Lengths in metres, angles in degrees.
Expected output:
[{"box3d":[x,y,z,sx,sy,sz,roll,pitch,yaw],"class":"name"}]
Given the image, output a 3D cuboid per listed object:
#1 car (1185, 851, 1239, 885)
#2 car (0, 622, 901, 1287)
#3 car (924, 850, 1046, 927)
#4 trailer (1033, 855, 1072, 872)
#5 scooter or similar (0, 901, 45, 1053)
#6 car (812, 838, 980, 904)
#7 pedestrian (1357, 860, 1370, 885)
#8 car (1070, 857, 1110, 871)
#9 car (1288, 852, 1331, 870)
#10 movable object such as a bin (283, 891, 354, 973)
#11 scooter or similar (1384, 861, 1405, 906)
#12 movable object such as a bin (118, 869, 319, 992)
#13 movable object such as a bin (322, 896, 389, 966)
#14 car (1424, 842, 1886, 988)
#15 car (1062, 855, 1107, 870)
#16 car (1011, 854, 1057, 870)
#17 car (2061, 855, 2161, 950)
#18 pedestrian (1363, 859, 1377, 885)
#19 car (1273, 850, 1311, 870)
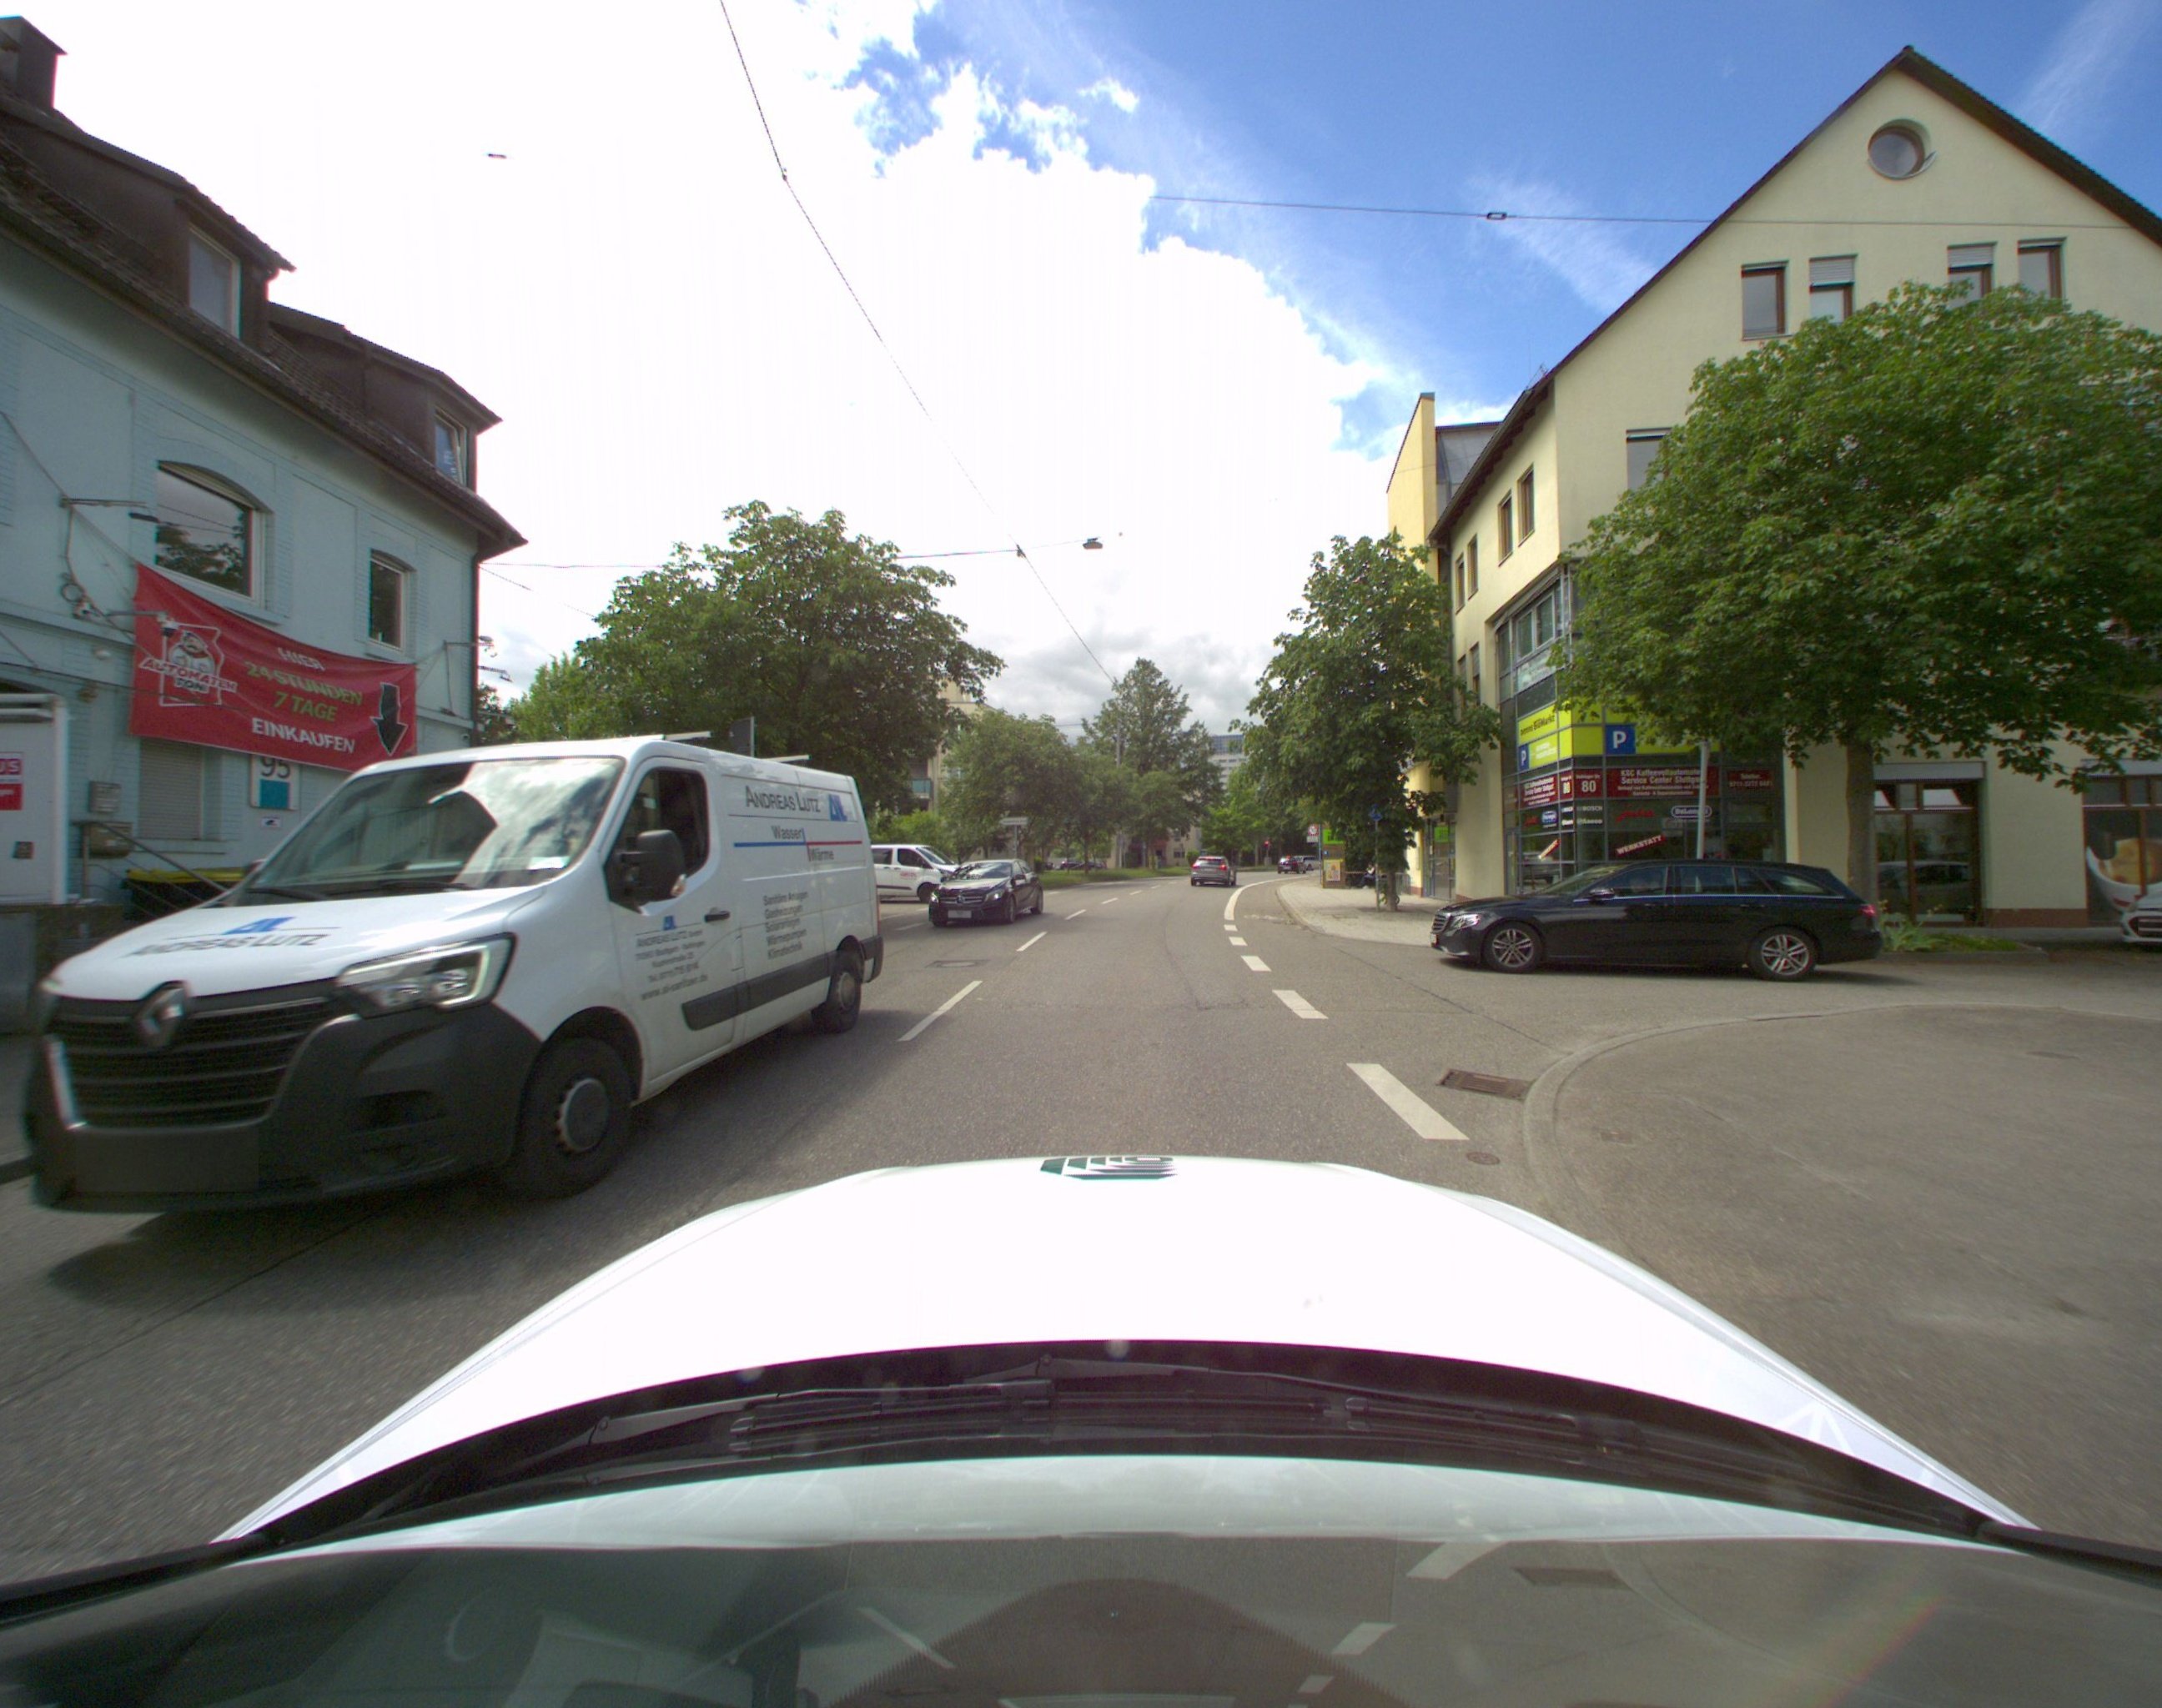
[{"box3d":[6.594,0.639,40.588,1.940,1.523,4.350,2,1,19],"class":"car"},{"box3d":[-3.124,0.374,5.569,2.053,2.353,5.191,-3,0,6],"class":"car"},{"box3d":[-2.070,0.727,18.783,1.677,1.482,4.236,-4,-1,8],"class":"car"},{"box3d":[-3.131,1.046,89.754,3.881,1.799,1.635,0,-4,11],"class":"trailer"},{"box3d":[-9.287,0.969,6.367,1.549,1.184,0.545,1,-1,-3],"class":"scooter or similar"},{"box3d":[-6.379,0.574,28.239,5.174,1.993,2.117,-3,0,14],"class":"car"},{"box3d":[13.544,0.869,39.051,0.519,1.181,0.502,0,-1,4],"class":"pedestrian"},{"box3d":[1.035,1.097,88.810,4.049,1.400,1.800,0,-4,13],"class":"car"},{"box3d":[22.528,0.713,80.064,4.349,1.616,1.790,3,0,-38],"class":"car"},{"box3d":[-10.050,1.012,10.745,0.432,1.040,0.517,1,-1,-4],"class":"movable object such as a bin"},{"box3d":[9.583,0.891,24.916,0.378,1.316,1.463,0,-1,11],"class":"scooter or similar"},{"box3d":[-10.125,0.860,9.639,1.018,1.355,1.245,1,-1,-4],"class":"movable object such as a bin"},{"box3d":[-10.073,1.056,11.321,0.445,0.932,0.517,1,-1,-4],"class":"movable object such as a bin"},{"box3d":[7.137,0.693,10.711,4.638,1.628,1.817,1,-1,14],"class":"car"},{"box3d":[0.380,0.856,79.814,4.049,1.400,1.800,0,-4,13],"class":"car"},{"box3d":[-4.649,0.763,81.136,4.146,1.523,1.908,-1,-1,13],"class":"car"},{"box3d":[18.274,0.762,12.760,3.577,1.446,1.734,0,-1,4],"class":"car"},{"box3d":[13.588,0.863,38.249,0.572,1.204,0.505,0,-1,14],"class":"pedestrian"},{"box3d":[17.230,0.488,66.358,1.787,1.523,4.356,3,1,31],"class":"car"}]
